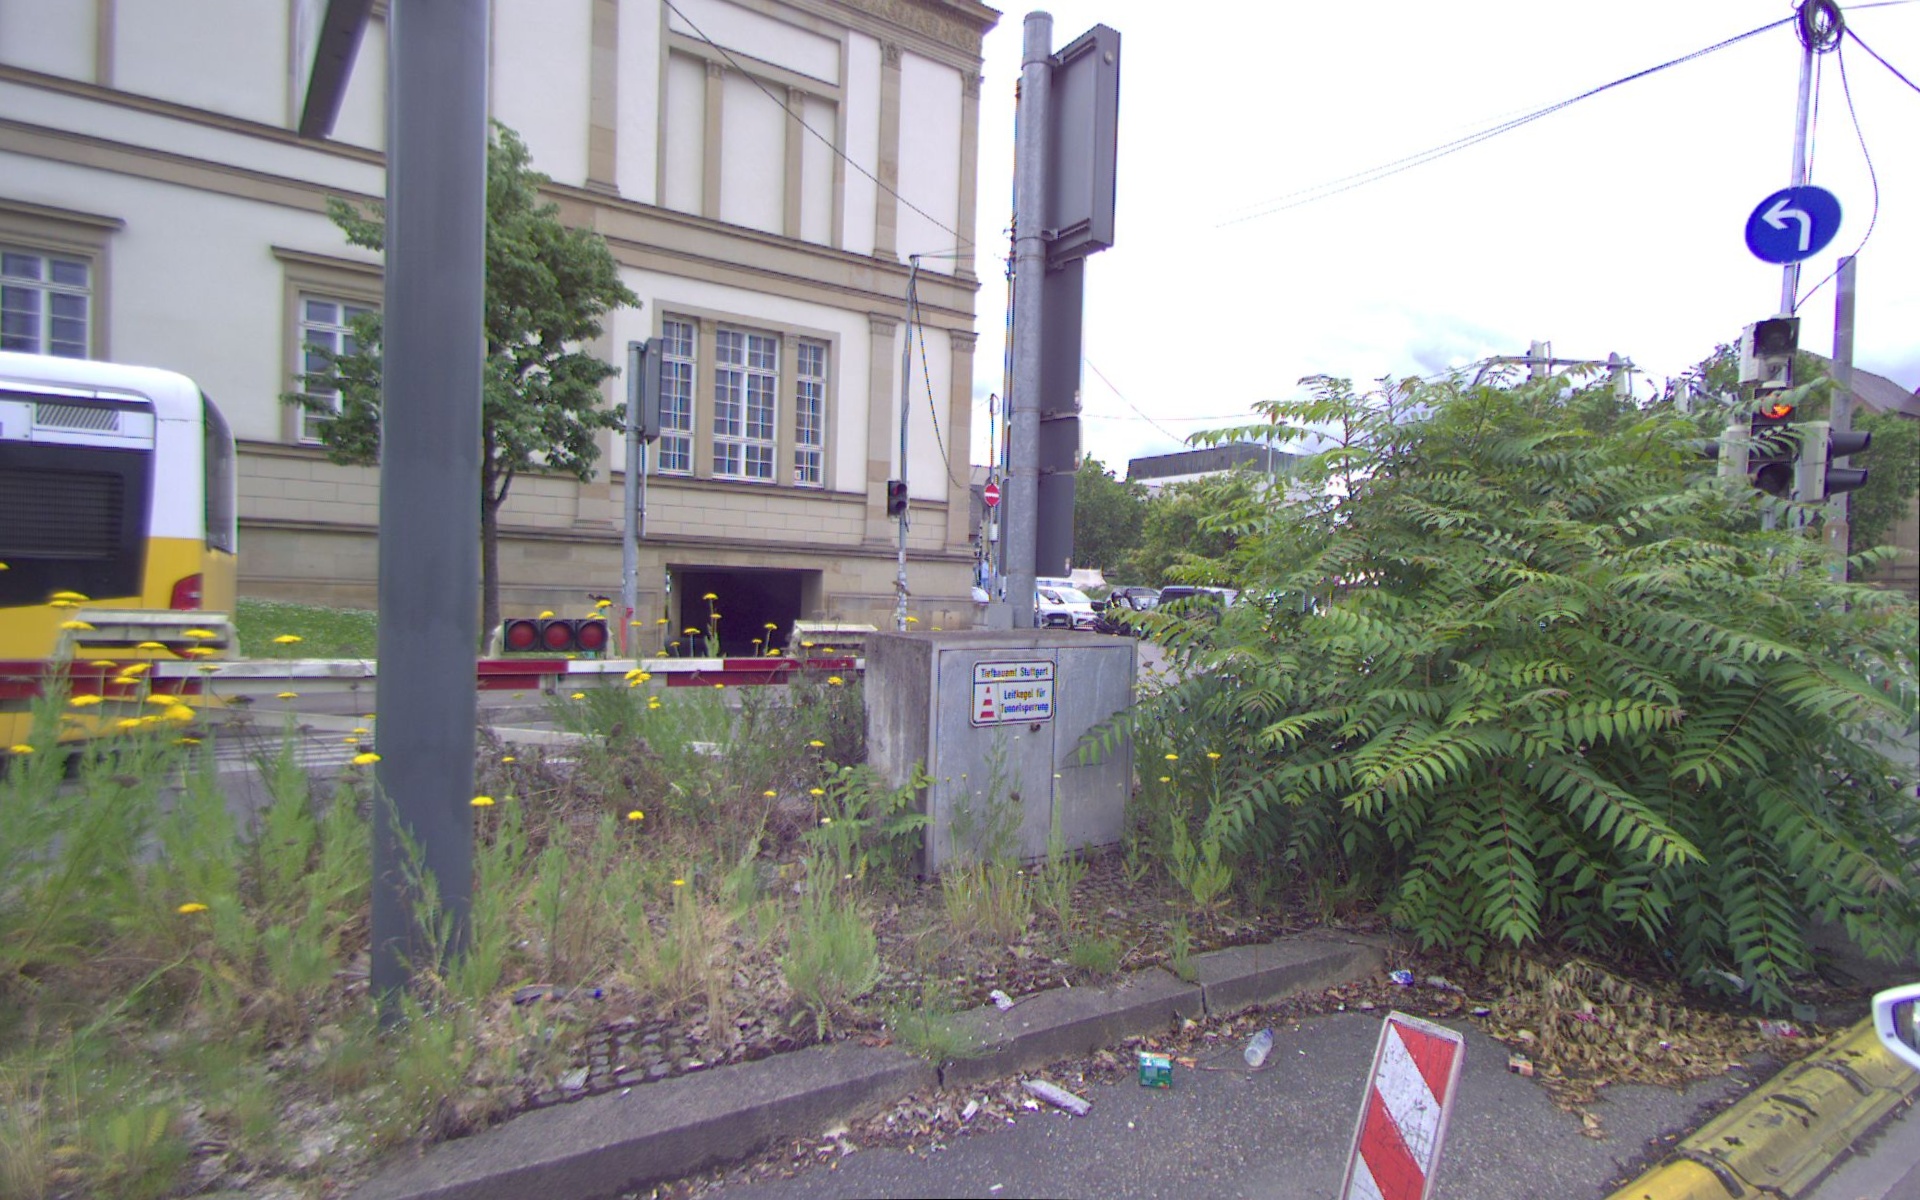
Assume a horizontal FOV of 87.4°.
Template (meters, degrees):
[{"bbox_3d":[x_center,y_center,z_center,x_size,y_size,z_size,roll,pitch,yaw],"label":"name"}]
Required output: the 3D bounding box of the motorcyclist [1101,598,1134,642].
[{"bbox_3d":[5.114,0.648,32.655,0.690,1.398,0.784,2,0,-33],"label":"motorcyclist"}]

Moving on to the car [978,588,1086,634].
[{"bbox_3d":[2.634,0.388,37.661,1.978,1.568,4.083,2,0,-32],"label":"car"}]

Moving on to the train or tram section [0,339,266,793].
[{"bbox_3d":[-10.112,-0.278,6.309,9.229,3.112,2.680,1,-1,-31],"label":"train or tram section"}]

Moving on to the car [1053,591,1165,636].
[{"bbox_3d":[5.570,0.499,38.026,1.978,1.568,4.084,2,0,-32],"label":"car"}]

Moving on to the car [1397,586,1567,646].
[{"bbox_3d":[16.770,0.486,32.439,1.985,1.783,4.449,2,0,-42],"label":"car"}]

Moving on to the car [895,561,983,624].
[{"bbox_3d":[-0.985,-0.335,43.890,1.978,2.585,4.083,2,0,-32],"label":"car"}]

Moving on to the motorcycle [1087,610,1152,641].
[{"bbox_3d":[5.144,0.821,32.591,0.690,0.953,2.335,2,-1,-32],"label":"motorcycle"}]

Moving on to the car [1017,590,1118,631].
[{"bbox_3d":[4.316,0.396,40.933,1.978,1.568,4.084,2,0,-32],"label":"car"}]
